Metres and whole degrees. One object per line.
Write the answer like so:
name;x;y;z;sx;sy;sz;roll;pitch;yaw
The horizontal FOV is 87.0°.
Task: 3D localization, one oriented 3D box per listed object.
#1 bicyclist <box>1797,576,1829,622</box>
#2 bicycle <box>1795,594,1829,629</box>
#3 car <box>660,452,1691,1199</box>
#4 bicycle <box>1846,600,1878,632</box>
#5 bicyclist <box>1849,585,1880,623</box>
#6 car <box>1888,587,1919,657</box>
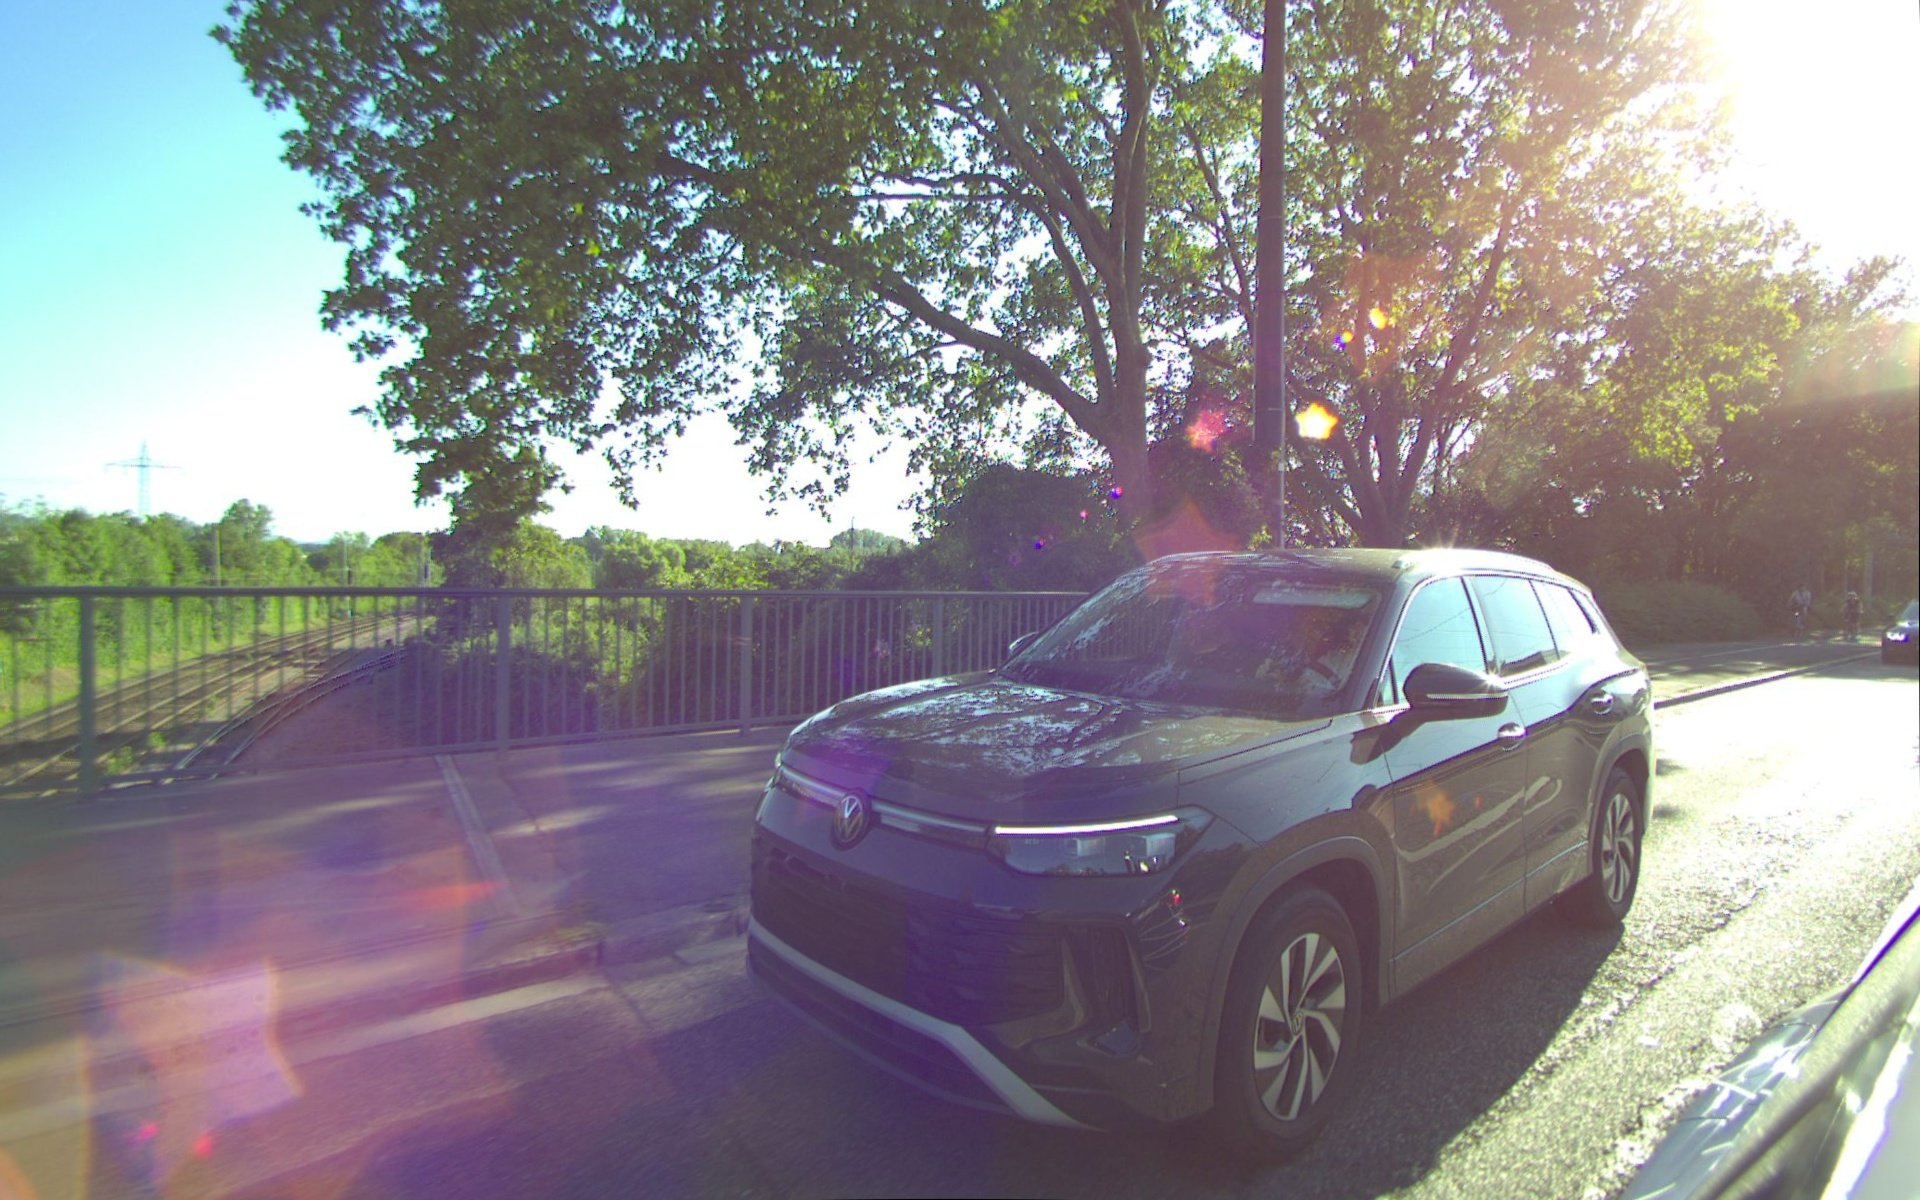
bicyclist;28.843;-0.040;34.225;0.875;1.528;0.687;1;0;-41
bicycle;28.770;0.385;34.171;1.782;1.134;0.623;-1;2;-42
car;1.244;0.515;4.106;4.362;1.682;1.848;0;2;-41
bicycle;29.639;0.507;33.238;1.757;0.986;0.566;-1;2;-42
bicyclist;29.916;0.123;33.472;0.875;1.241;0.642;1;1;-41
car;22.387;0.461;22.664;4.506;1.486;1.869;0;1;-41
